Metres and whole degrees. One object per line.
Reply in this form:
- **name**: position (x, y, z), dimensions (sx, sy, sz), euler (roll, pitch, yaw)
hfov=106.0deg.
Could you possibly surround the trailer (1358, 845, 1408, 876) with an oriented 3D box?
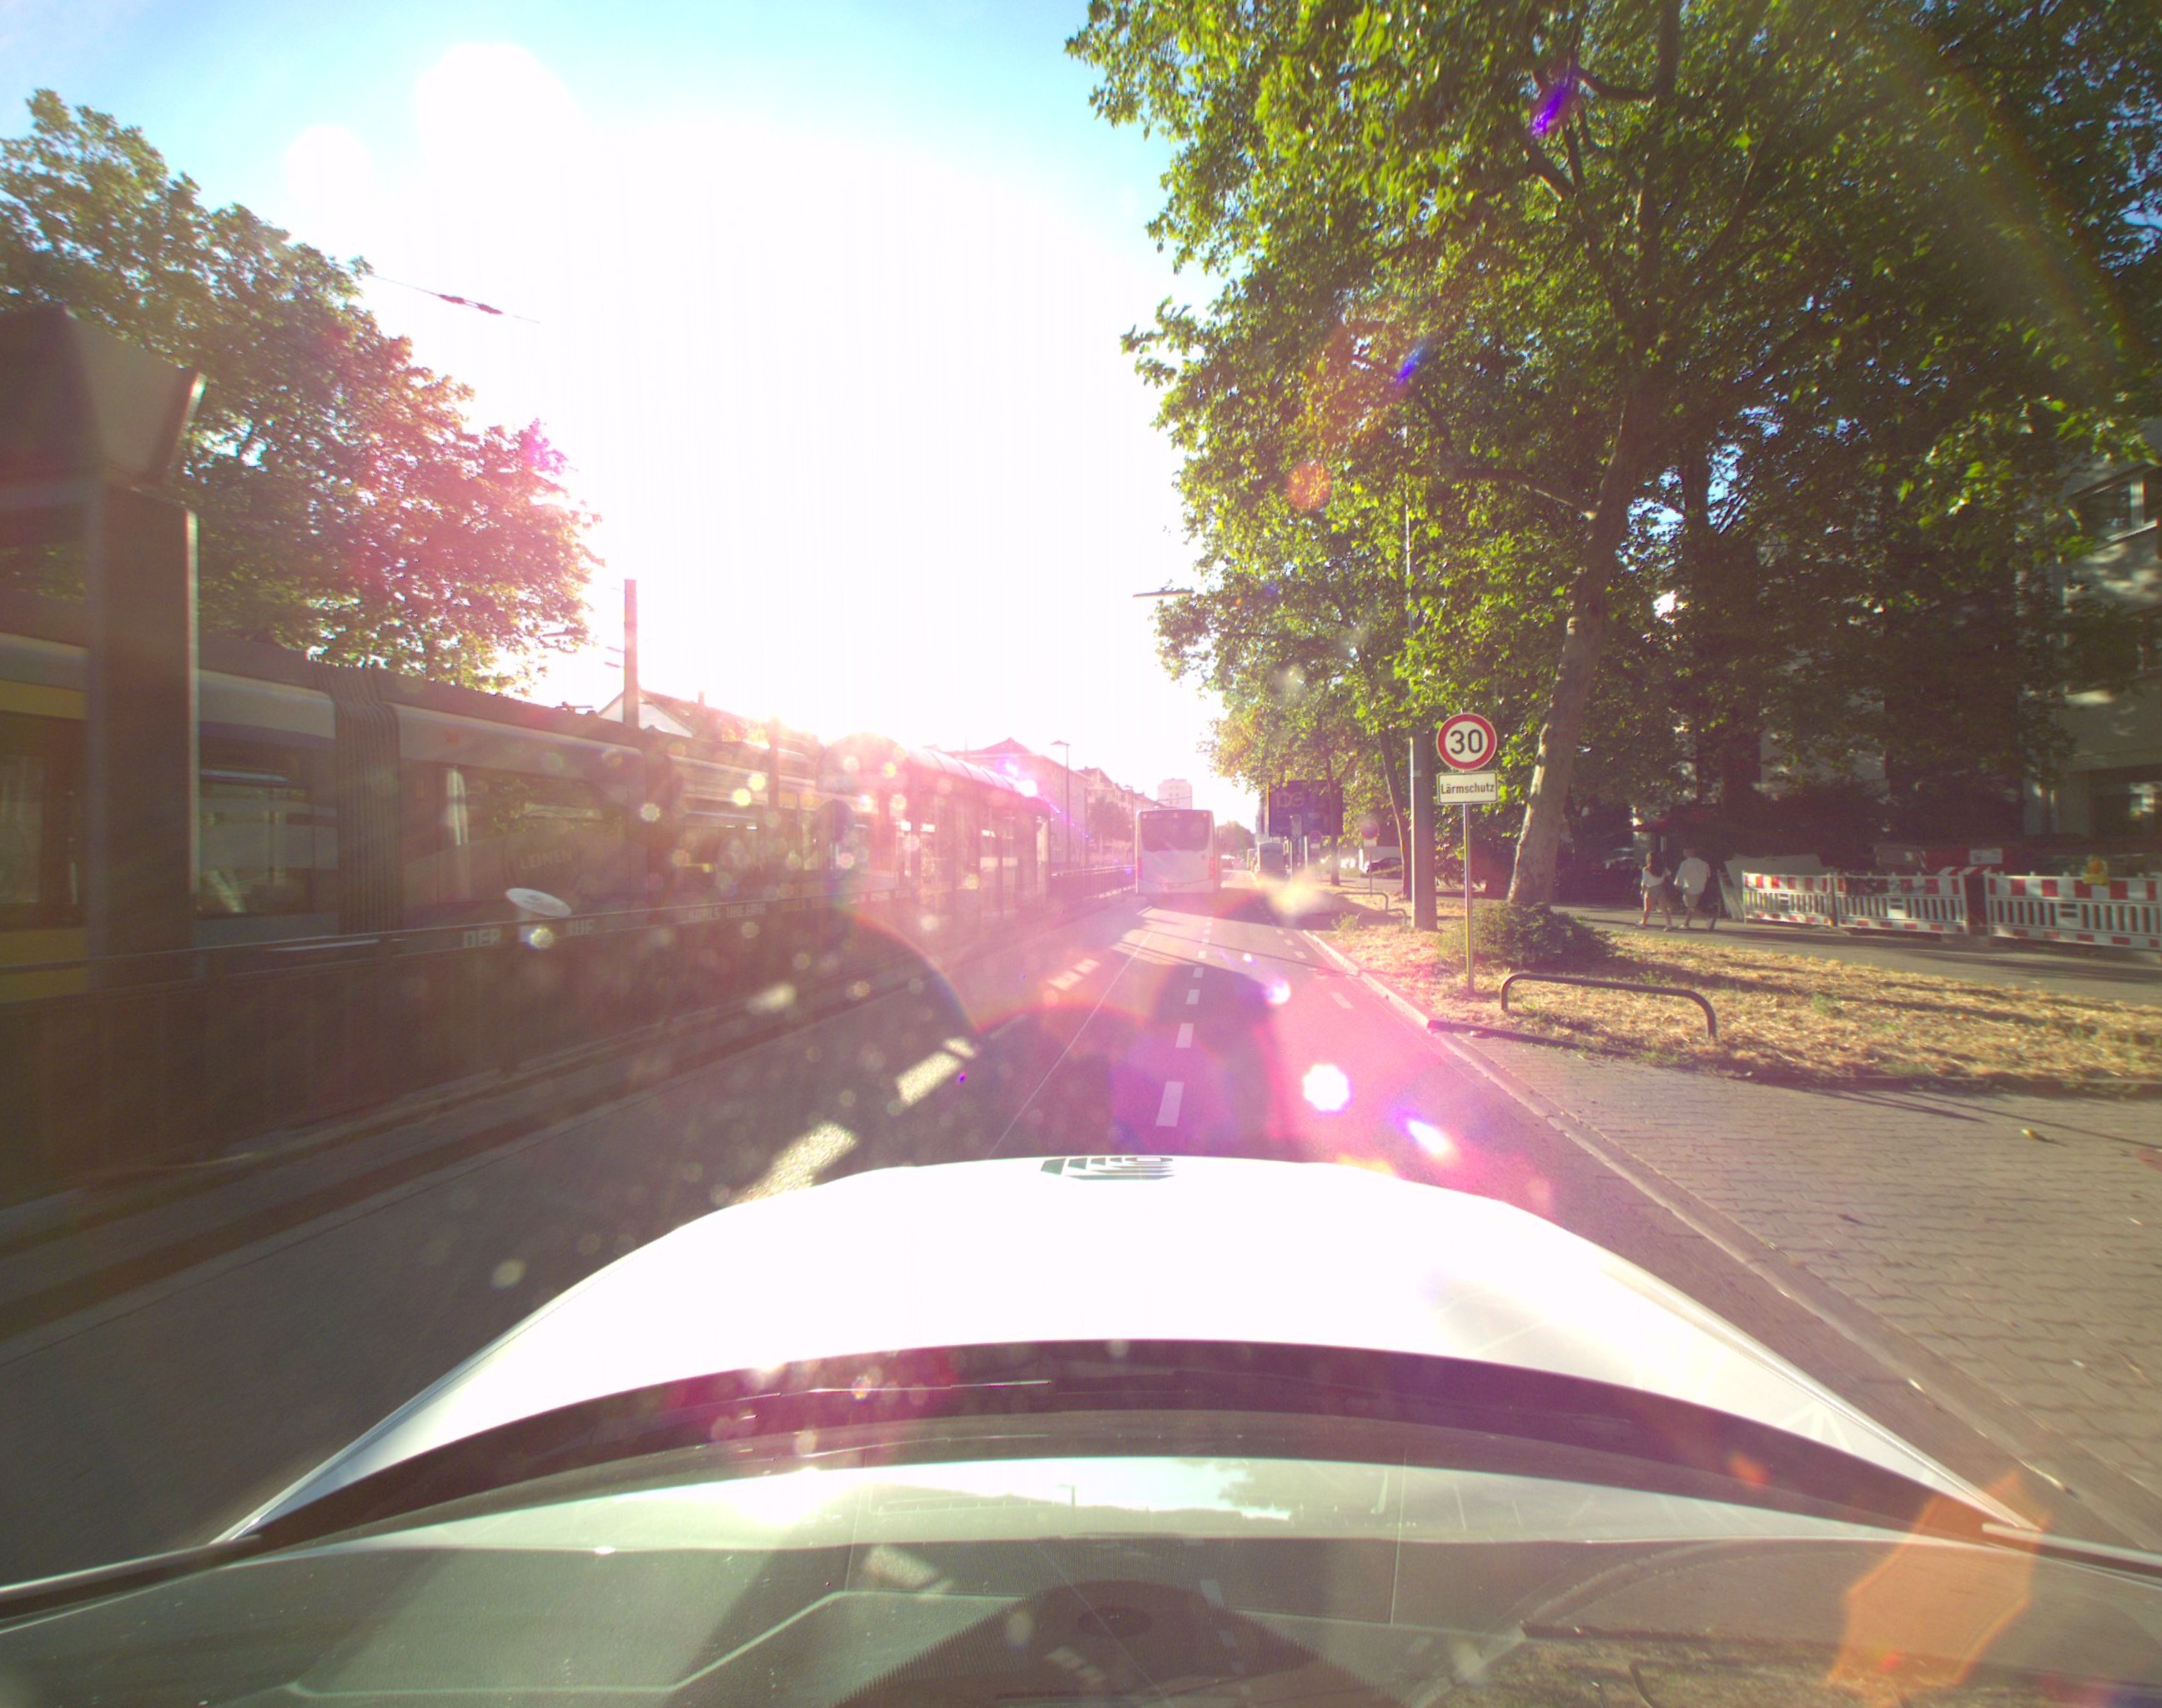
- **trailer**: position (21.004, 0.441, 56.789), dimensions (3.044, 2.069, 1.885), euler (-1, 0, 12)

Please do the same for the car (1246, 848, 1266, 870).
- **car**: position (21.377, 0.626, 99.821), dimensions (2.267, 2.627, 5.325), euler (-1, -1, 11)

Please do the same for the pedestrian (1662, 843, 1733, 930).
- **pedestrian**: position (12.165, 0.623, 16.092), dimensions (0.786, 1.667, 0.818), euler (-1, 0, 6)

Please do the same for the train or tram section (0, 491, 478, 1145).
- **train or tram section**: position (-7.974, -0.187, 0.794), dimensions (2.831, 3.533, 13.436), euler (-1, 0, 11)

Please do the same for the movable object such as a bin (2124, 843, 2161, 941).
- **movable object such as a bin**: position (16.376, 0.543, 11.852), dimensions (1.281, 1.434, 0.845), euler (-1, -1, 37)

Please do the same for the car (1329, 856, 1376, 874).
- **car**: position (25.121, 1.009, 75.435), dimensions (3.895, 1.588, 1.711), euler (-1, -1, 10)

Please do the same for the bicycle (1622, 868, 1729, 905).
- **bicycle**: position (16.809, 0.918, 23.087), dimensions (2.355, 1.024, 0.667), euler (-1, -1, 17)

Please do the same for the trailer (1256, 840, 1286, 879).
- **trailer**: position (12.884, 0.362, 55.393), dimensions (1.821, 2.558, 3.328), euler (-2, -1, 11)

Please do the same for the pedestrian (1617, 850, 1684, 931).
- **pedestrian**: position (11.368, 0.706, 16.283), dimensions (0.786, 1.572, 0.818), euler (-1, 0, 6)

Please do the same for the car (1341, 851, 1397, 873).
- **car**: position (22.701, 0.662, 64.267), dimensions (3.895, 1.637, 1.711), euler (-1, -1, 10)

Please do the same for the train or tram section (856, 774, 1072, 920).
- **train or tram section**: position (-2.966, -0.124, 26.439), dimensions (2.623, 3.519, 13.373), euler (-1, 0, 11)

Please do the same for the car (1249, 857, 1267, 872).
- **car**: position (18.292, 1.053, 84.146), dimensions (1.660, 1.463, 3.945), euler (-3, -1, 11)

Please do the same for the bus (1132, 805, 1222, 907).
- **bus**: position (3.881, 0.057, 30.631), dimensions (2.717, 3.139, 10.732), euler (-1, 0, 10)

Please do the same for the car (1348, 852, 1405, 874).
- **car**: position (22.421, 0.683, 61.909), dimensions (3.895, 1.636, 1.711), euler (-1, -1, 10)

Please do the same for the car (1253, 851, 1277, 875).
- **car**: position (15.411, 0.766, 68.367), dimensions (1.835, 1.956, 4.557), euler (-1, -1, 11)

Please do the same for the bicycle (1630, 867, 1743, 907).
- **bicycle**: position (16.423, 0.897, 22.151), dimensions (2.356, 1.024, 0.667), euler (-2, -1, 16)

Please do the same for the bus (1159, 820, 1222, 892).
- **bus**: position (5.556, 0.094, 40.275), dimensions (2.692, 3.107, 9.004), euler (-1, 0, 10)

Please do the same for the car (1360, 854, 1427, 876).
- **car**: position (20.695, 0.734, 54.102), dimensions (3.894, 1.336, 1.712), euler (-1, -1, 11)

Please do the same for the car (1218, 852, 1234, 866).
- **car**: position (19.385, 0.712, 108.743), dimensions (1.980, 1.816, 4.013), euler (-1, 0, 12)

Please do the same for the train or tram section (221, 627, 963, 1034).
- **train or tram section**: position (-5.425, -0.168, 13.622), dimensions (2.711, 3.549, 12.823), euler (-1, 0, 11)
